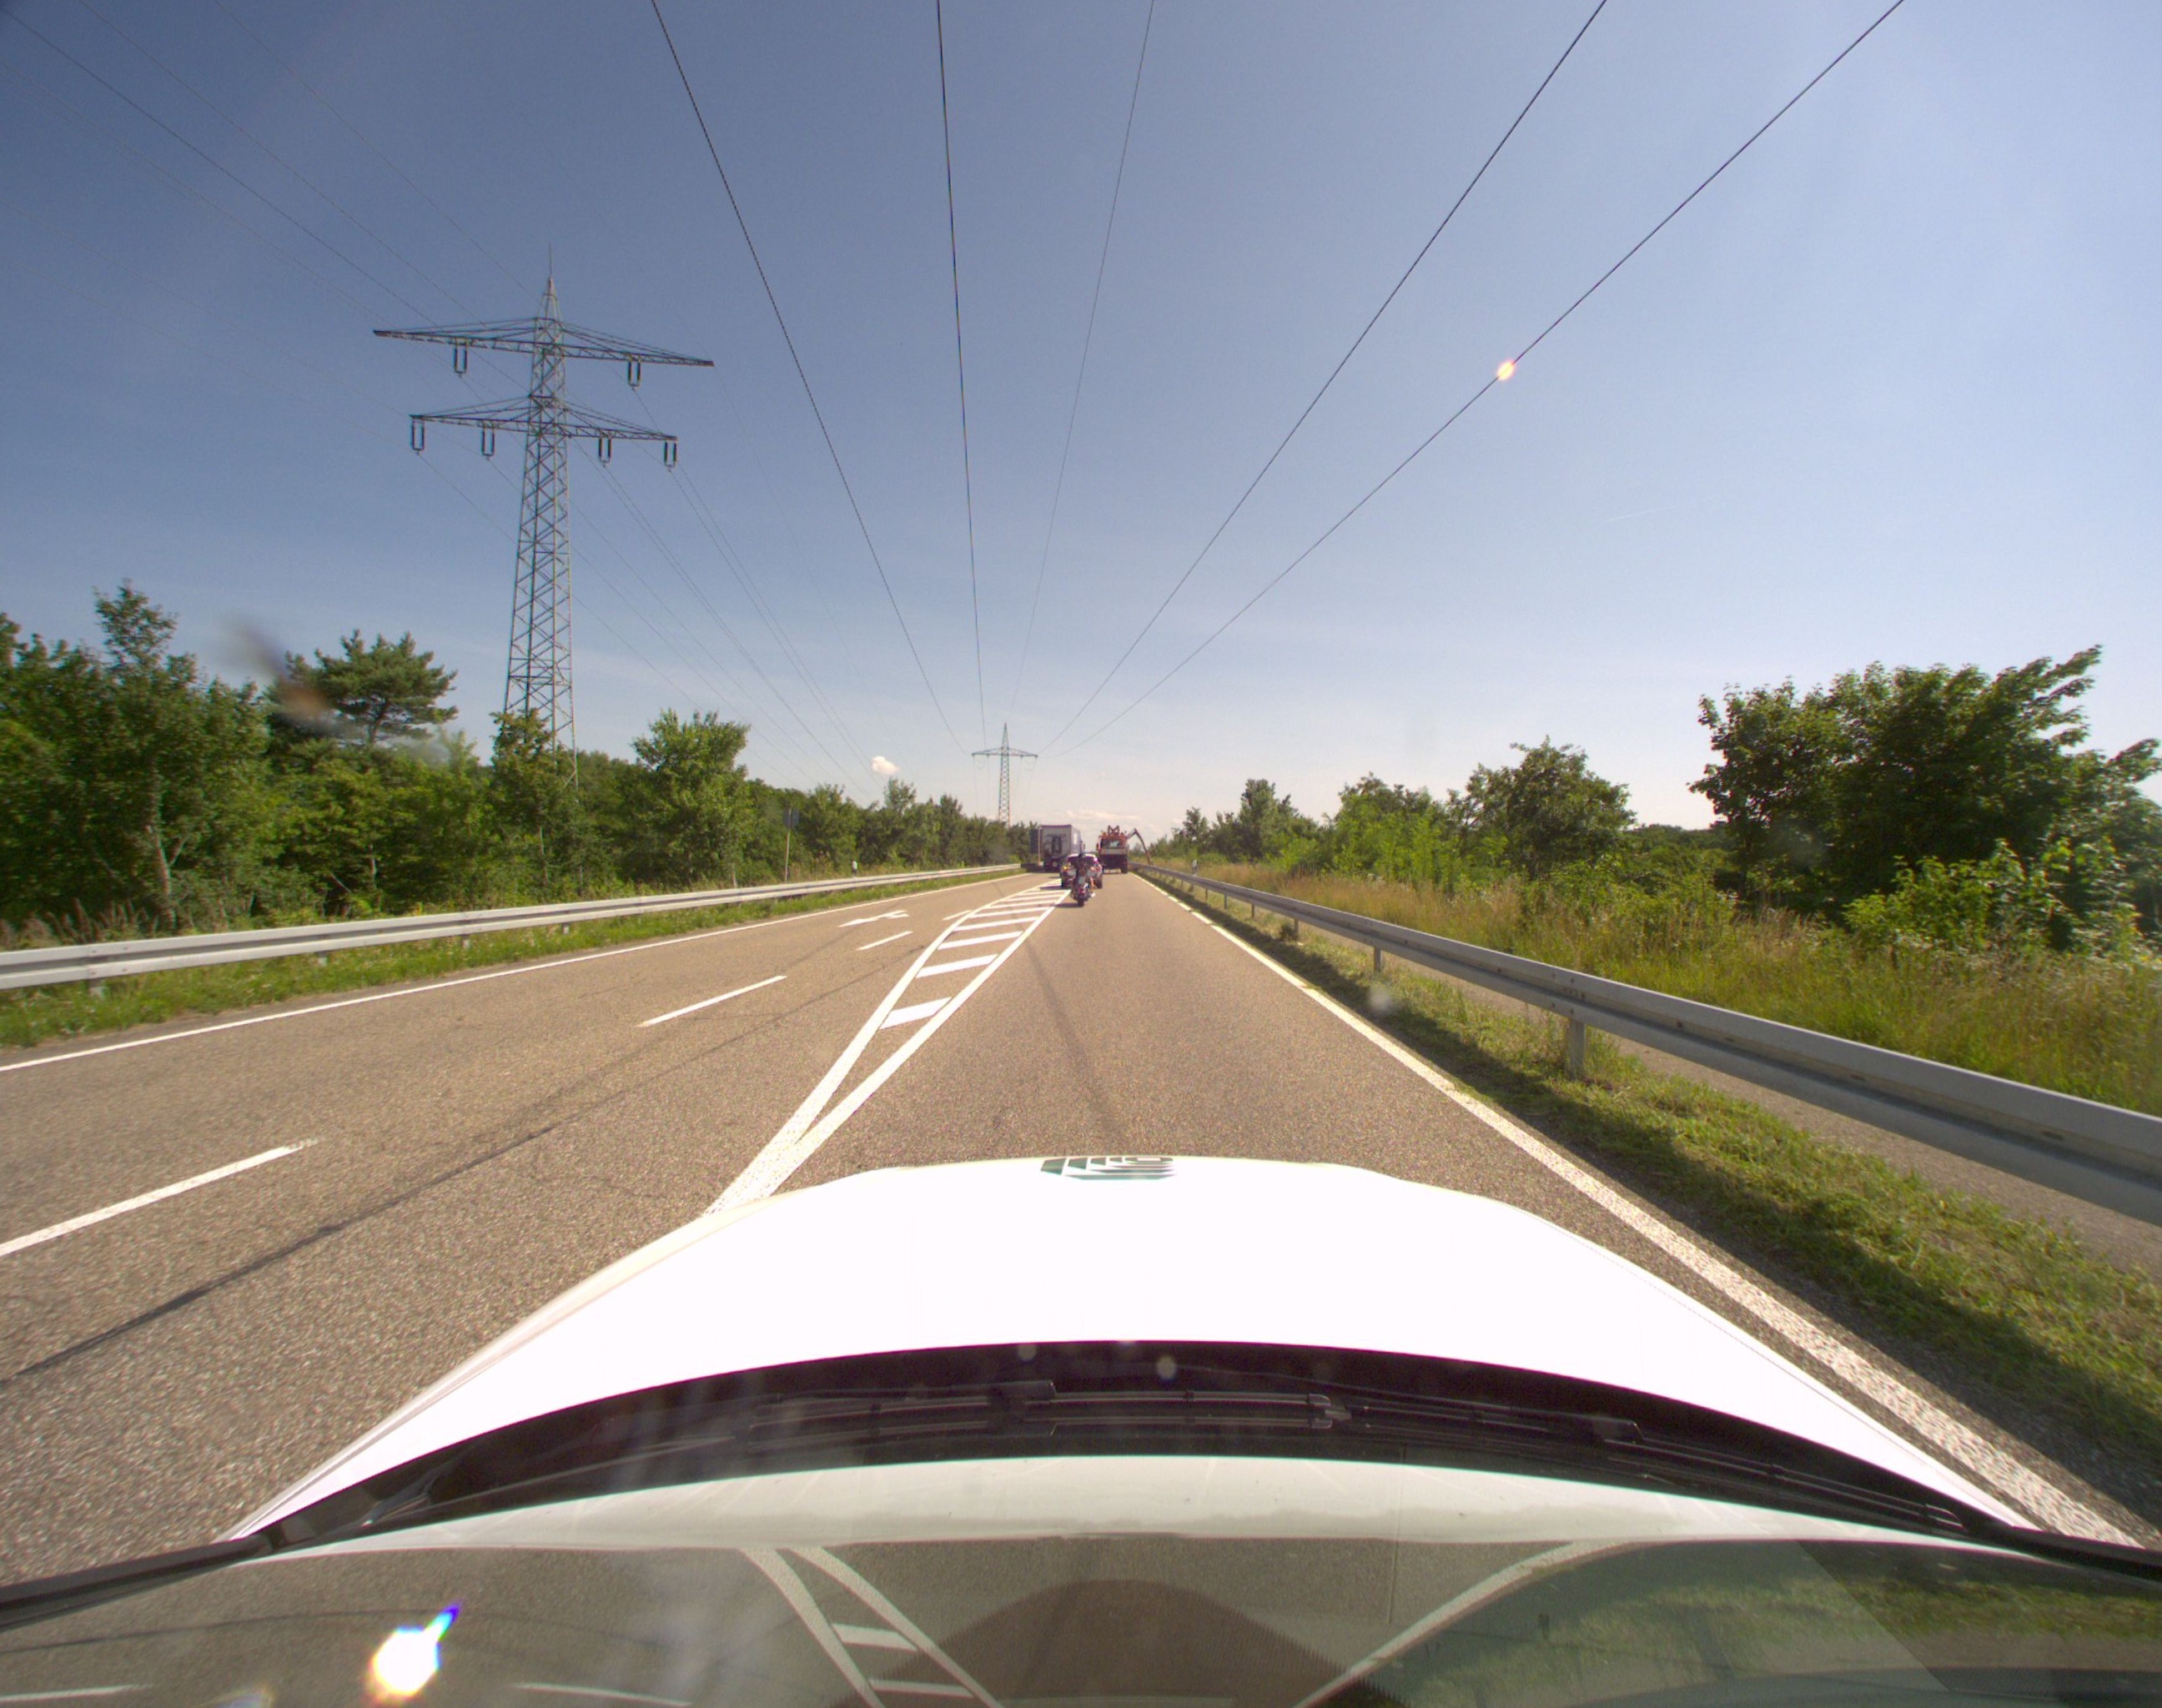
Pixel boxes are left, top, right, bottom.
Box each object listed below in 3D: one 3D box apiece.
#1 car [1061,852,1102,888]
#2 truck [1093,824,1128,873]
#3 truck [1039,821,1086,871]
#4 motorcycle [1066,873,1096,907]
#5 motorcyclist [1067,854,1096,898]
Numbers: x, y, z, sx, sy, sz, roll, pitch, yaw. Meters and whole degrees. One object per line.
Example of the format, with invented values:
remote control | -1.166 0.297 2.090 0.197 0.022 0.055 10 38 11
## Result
car | -0.017 0.698 36.716 1.697 1.536 3.495 0 0 -3
truck | 2.378 -0.401 65.489 2.604 3.711 6.781 0 0 2
truck | -1.487 -0.703 75.830 2.954 4.187 14.838 0 0 4
motorcycle | 0.007 1.040 24.146 0.856 0.915 2.227 -1 0 0
motorcyclist | 0.005 0.653 24.264 0.834 1.280 0.919 0 0 0
